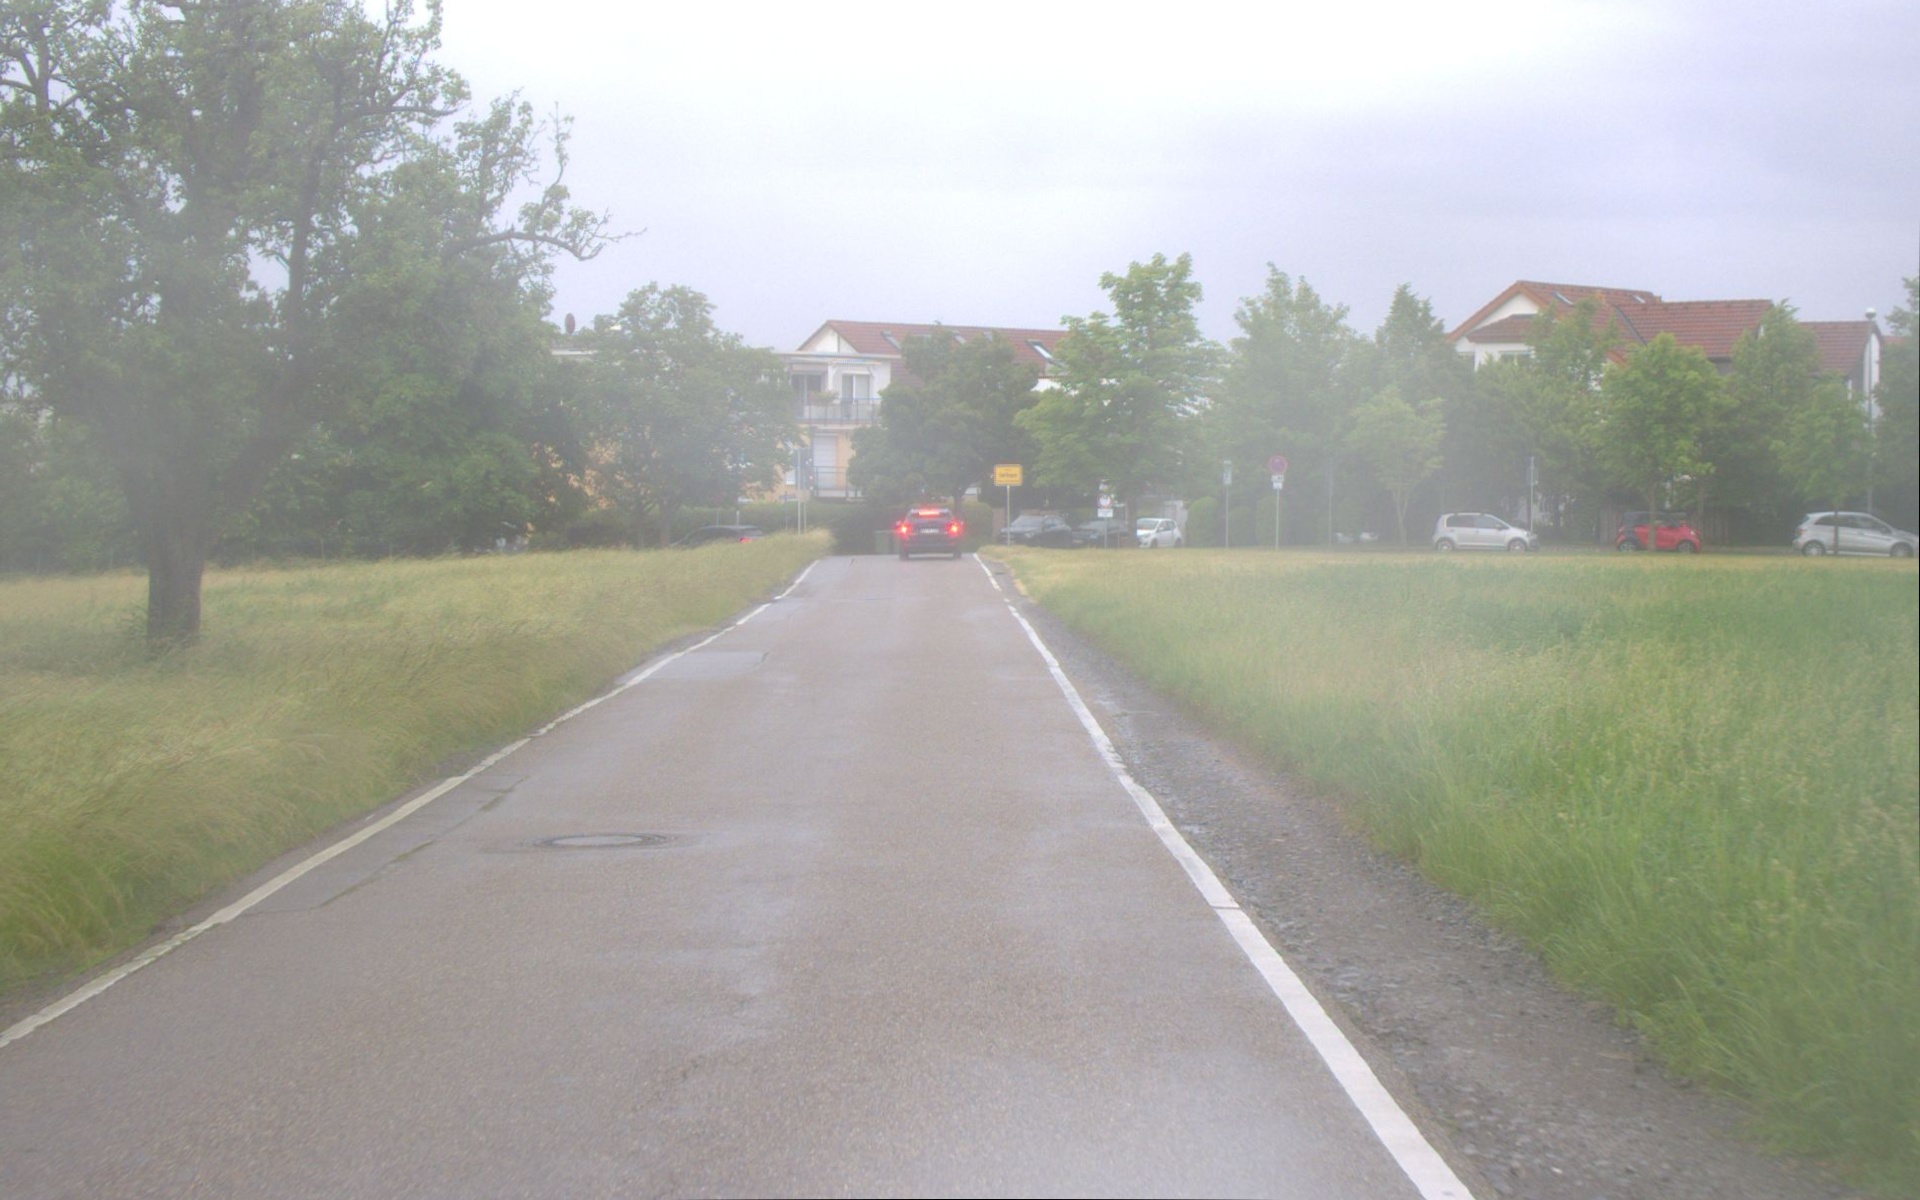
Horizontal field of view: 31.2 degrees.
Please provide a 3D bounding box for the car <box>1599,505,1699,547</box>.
[{"bbox_3d":[22.793,-2.454,113.739,3.194,1.366,1.571,0,0,13],"label":"car"}]

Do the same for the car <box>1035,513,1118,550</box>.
[{"bbox_3d":[5.058,-2.970,148.692,1.664,1.541,3.992,0,0,35],"label":"car"}]

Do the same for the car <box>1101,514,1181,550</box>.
[{"bbox_3d":[8.051,-3.007,152.963,1.664,1.541,3.992,0,0,35],"label":"car"}]

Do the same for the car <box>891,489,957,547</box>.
[{"bbox_3d":[-1.017,-2.324,98.617,1.814,1.588,4.000,0,0,1],"label":"car"}]

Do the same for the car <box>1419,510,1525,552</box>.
[{"bbox_3d":[17.152,-2.305,115.142,3.392,1.366,1.547,0,0,13],"label":"car"}]

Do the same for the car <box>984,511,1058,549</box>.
[{"bbox_3d":[2.564,-2.920,144.138,1.663,1.541,3.995,0,0,24],"label":"car"}]

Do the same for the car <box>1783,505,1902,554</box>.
[{"bbox_3d":[28.757,-2.288,112.128,3.711,1.558,1.609,0,0,13],"label":"car"}]
